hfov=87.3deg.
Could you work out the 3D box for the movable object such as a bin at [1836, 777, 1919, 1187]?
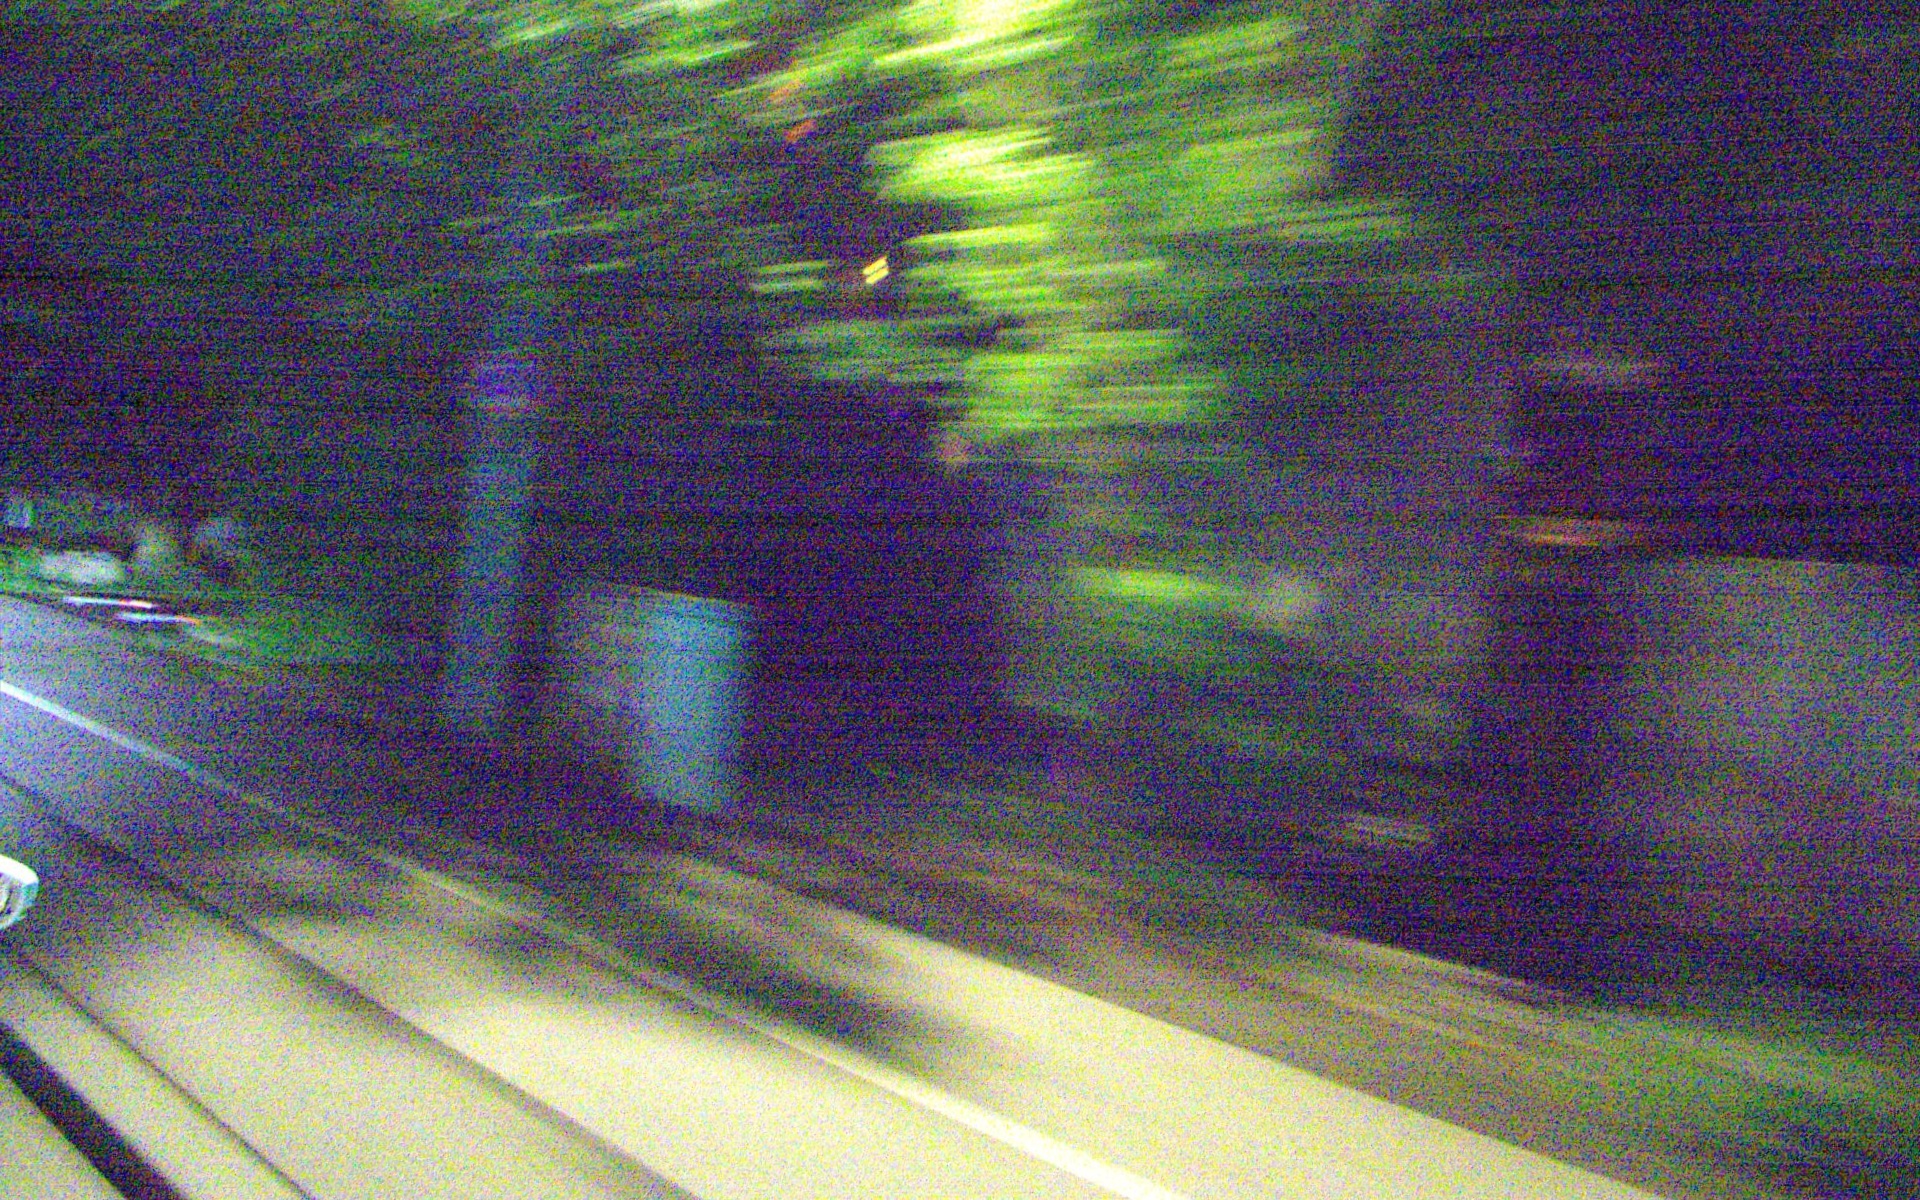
[{"bbox_3d":[3.300,1.203,3.013,0.880,1.135,0.722,7,1,40],"label":"movable object such as a bin"}]
